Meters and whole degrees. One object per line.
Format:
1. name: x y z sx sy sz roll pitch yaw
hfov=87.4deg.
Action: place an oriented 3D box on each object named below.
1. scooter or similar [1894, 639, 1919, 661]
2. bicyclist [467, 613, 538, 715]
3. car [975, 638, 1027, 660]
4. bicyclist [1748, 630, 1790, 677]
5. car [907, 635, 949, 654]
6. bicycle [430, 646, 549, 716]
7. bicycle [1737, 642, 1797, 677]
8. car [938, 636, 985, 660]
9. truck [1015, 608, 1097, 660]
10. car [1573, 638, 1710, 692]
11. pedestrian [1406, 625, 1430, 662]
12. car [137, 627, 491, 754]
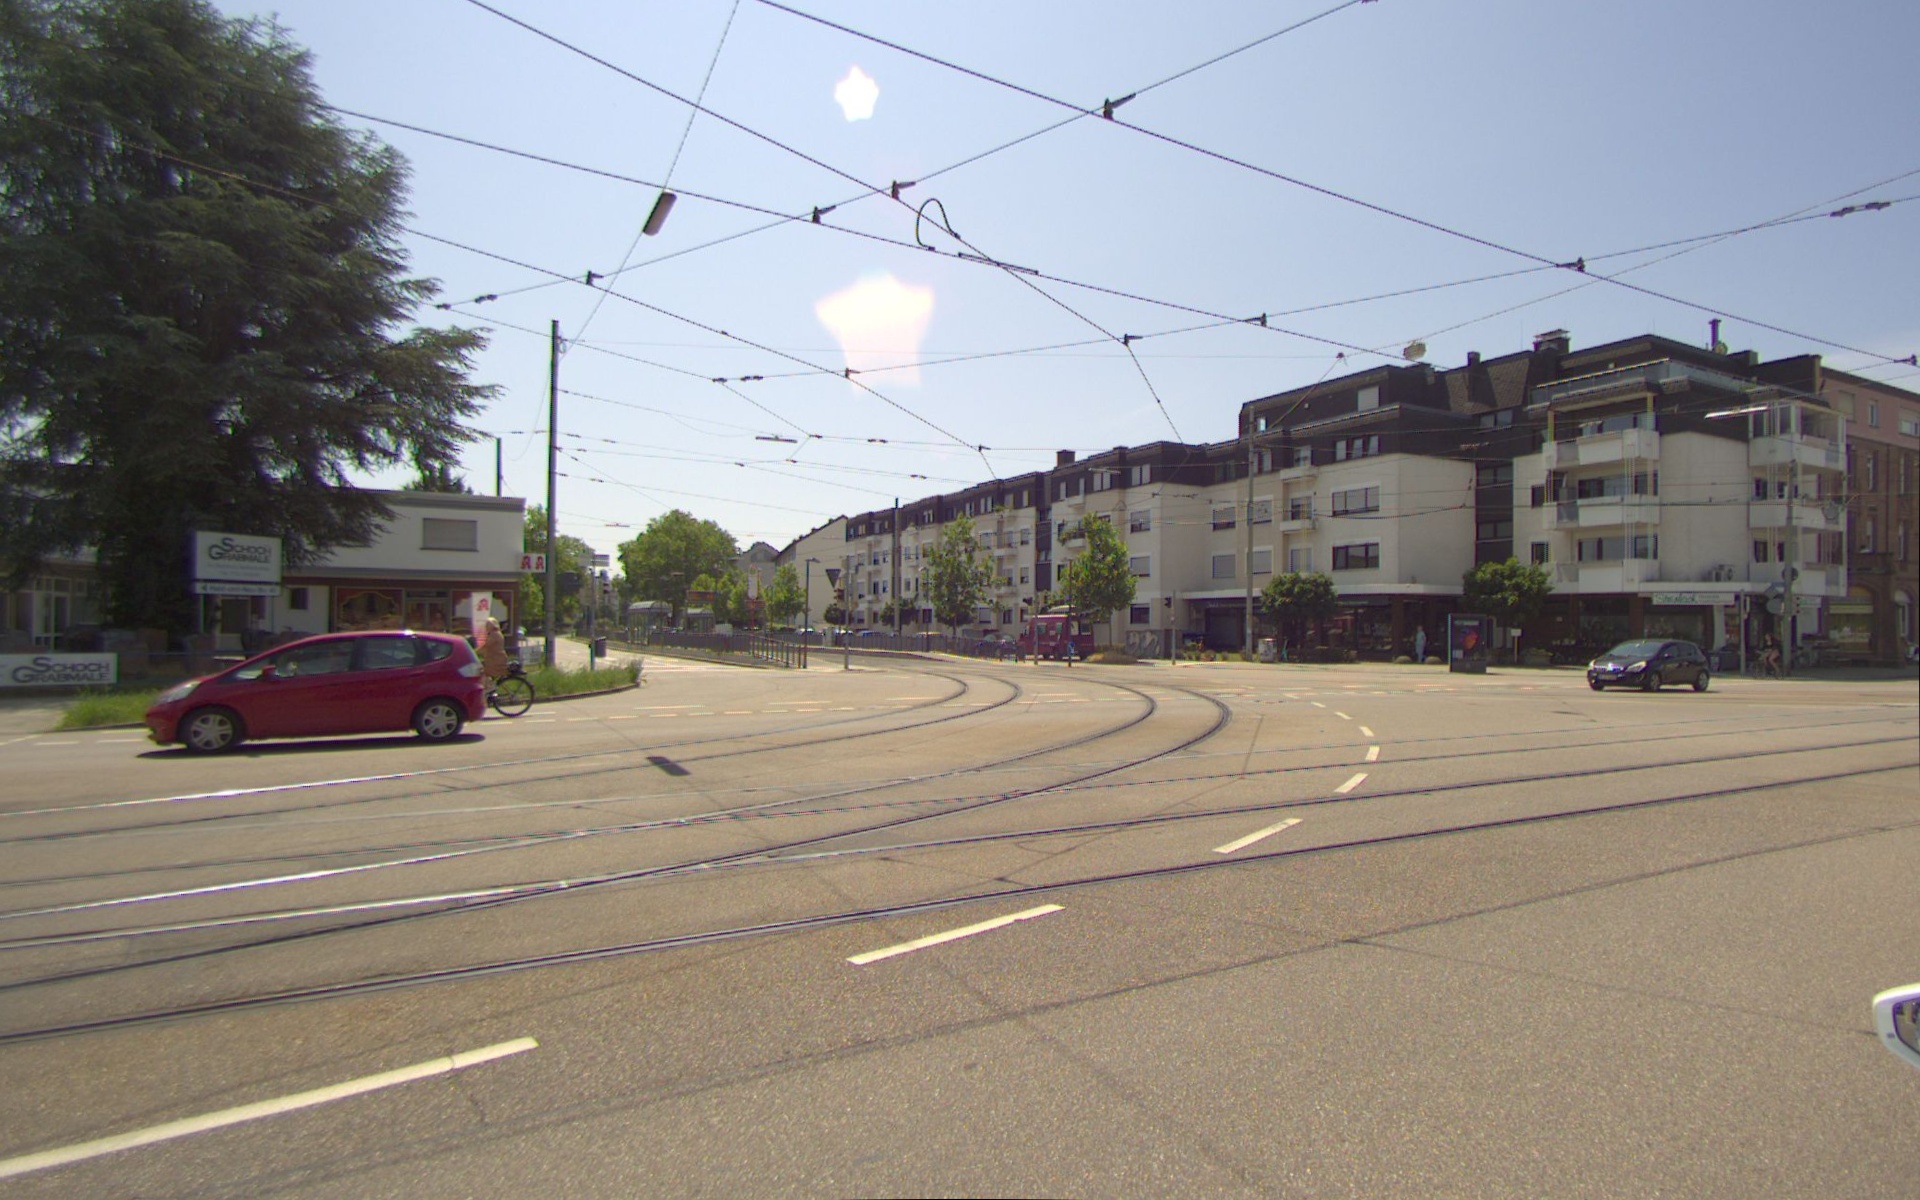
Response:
1. scooter or similar: 49.811 2.616 52.641 1.549 1.096 0.488 0 -2 -12
2. bicyclist: -8.334 1.136 18.308 1.123 1.789 0.691 0 -1 -30
3. car: 2.446 2.931 60.611 1.570 1.235 3.556 1 -2 -27
4. bicyclist: 31.566 2.082 39.189 1.115 1.785 0.733 1 -2 -14
5. car: -2.247 3.056 69.671 1.570 1.256 3.556 1 -2 -27
6. bicycle: -8.513 1.444 18.190 1.908 1.164 0.691 0 -1 -30
7. bicycle: 31.453 2.301 39.151 2.069 1.322 0.677 1 -2 -14
8. car: 0.067 3.069 64.837 1.570 1.452 3.556 1 -2 -27
9. truck: 5.216 1.895 55.493 2.160 2.734 5.007 1 -2 -28
10. car: 19.652 1.822 28.954 3.816 1.457 1.703 1 -2 -28
11. pedestrian: 21.815 2.073 47.868 0.794 1.719 0.699 1 -2 -16
12. car: -8.471 1.138 13.548 3.783 1.503 1.617 1 -2 -30
